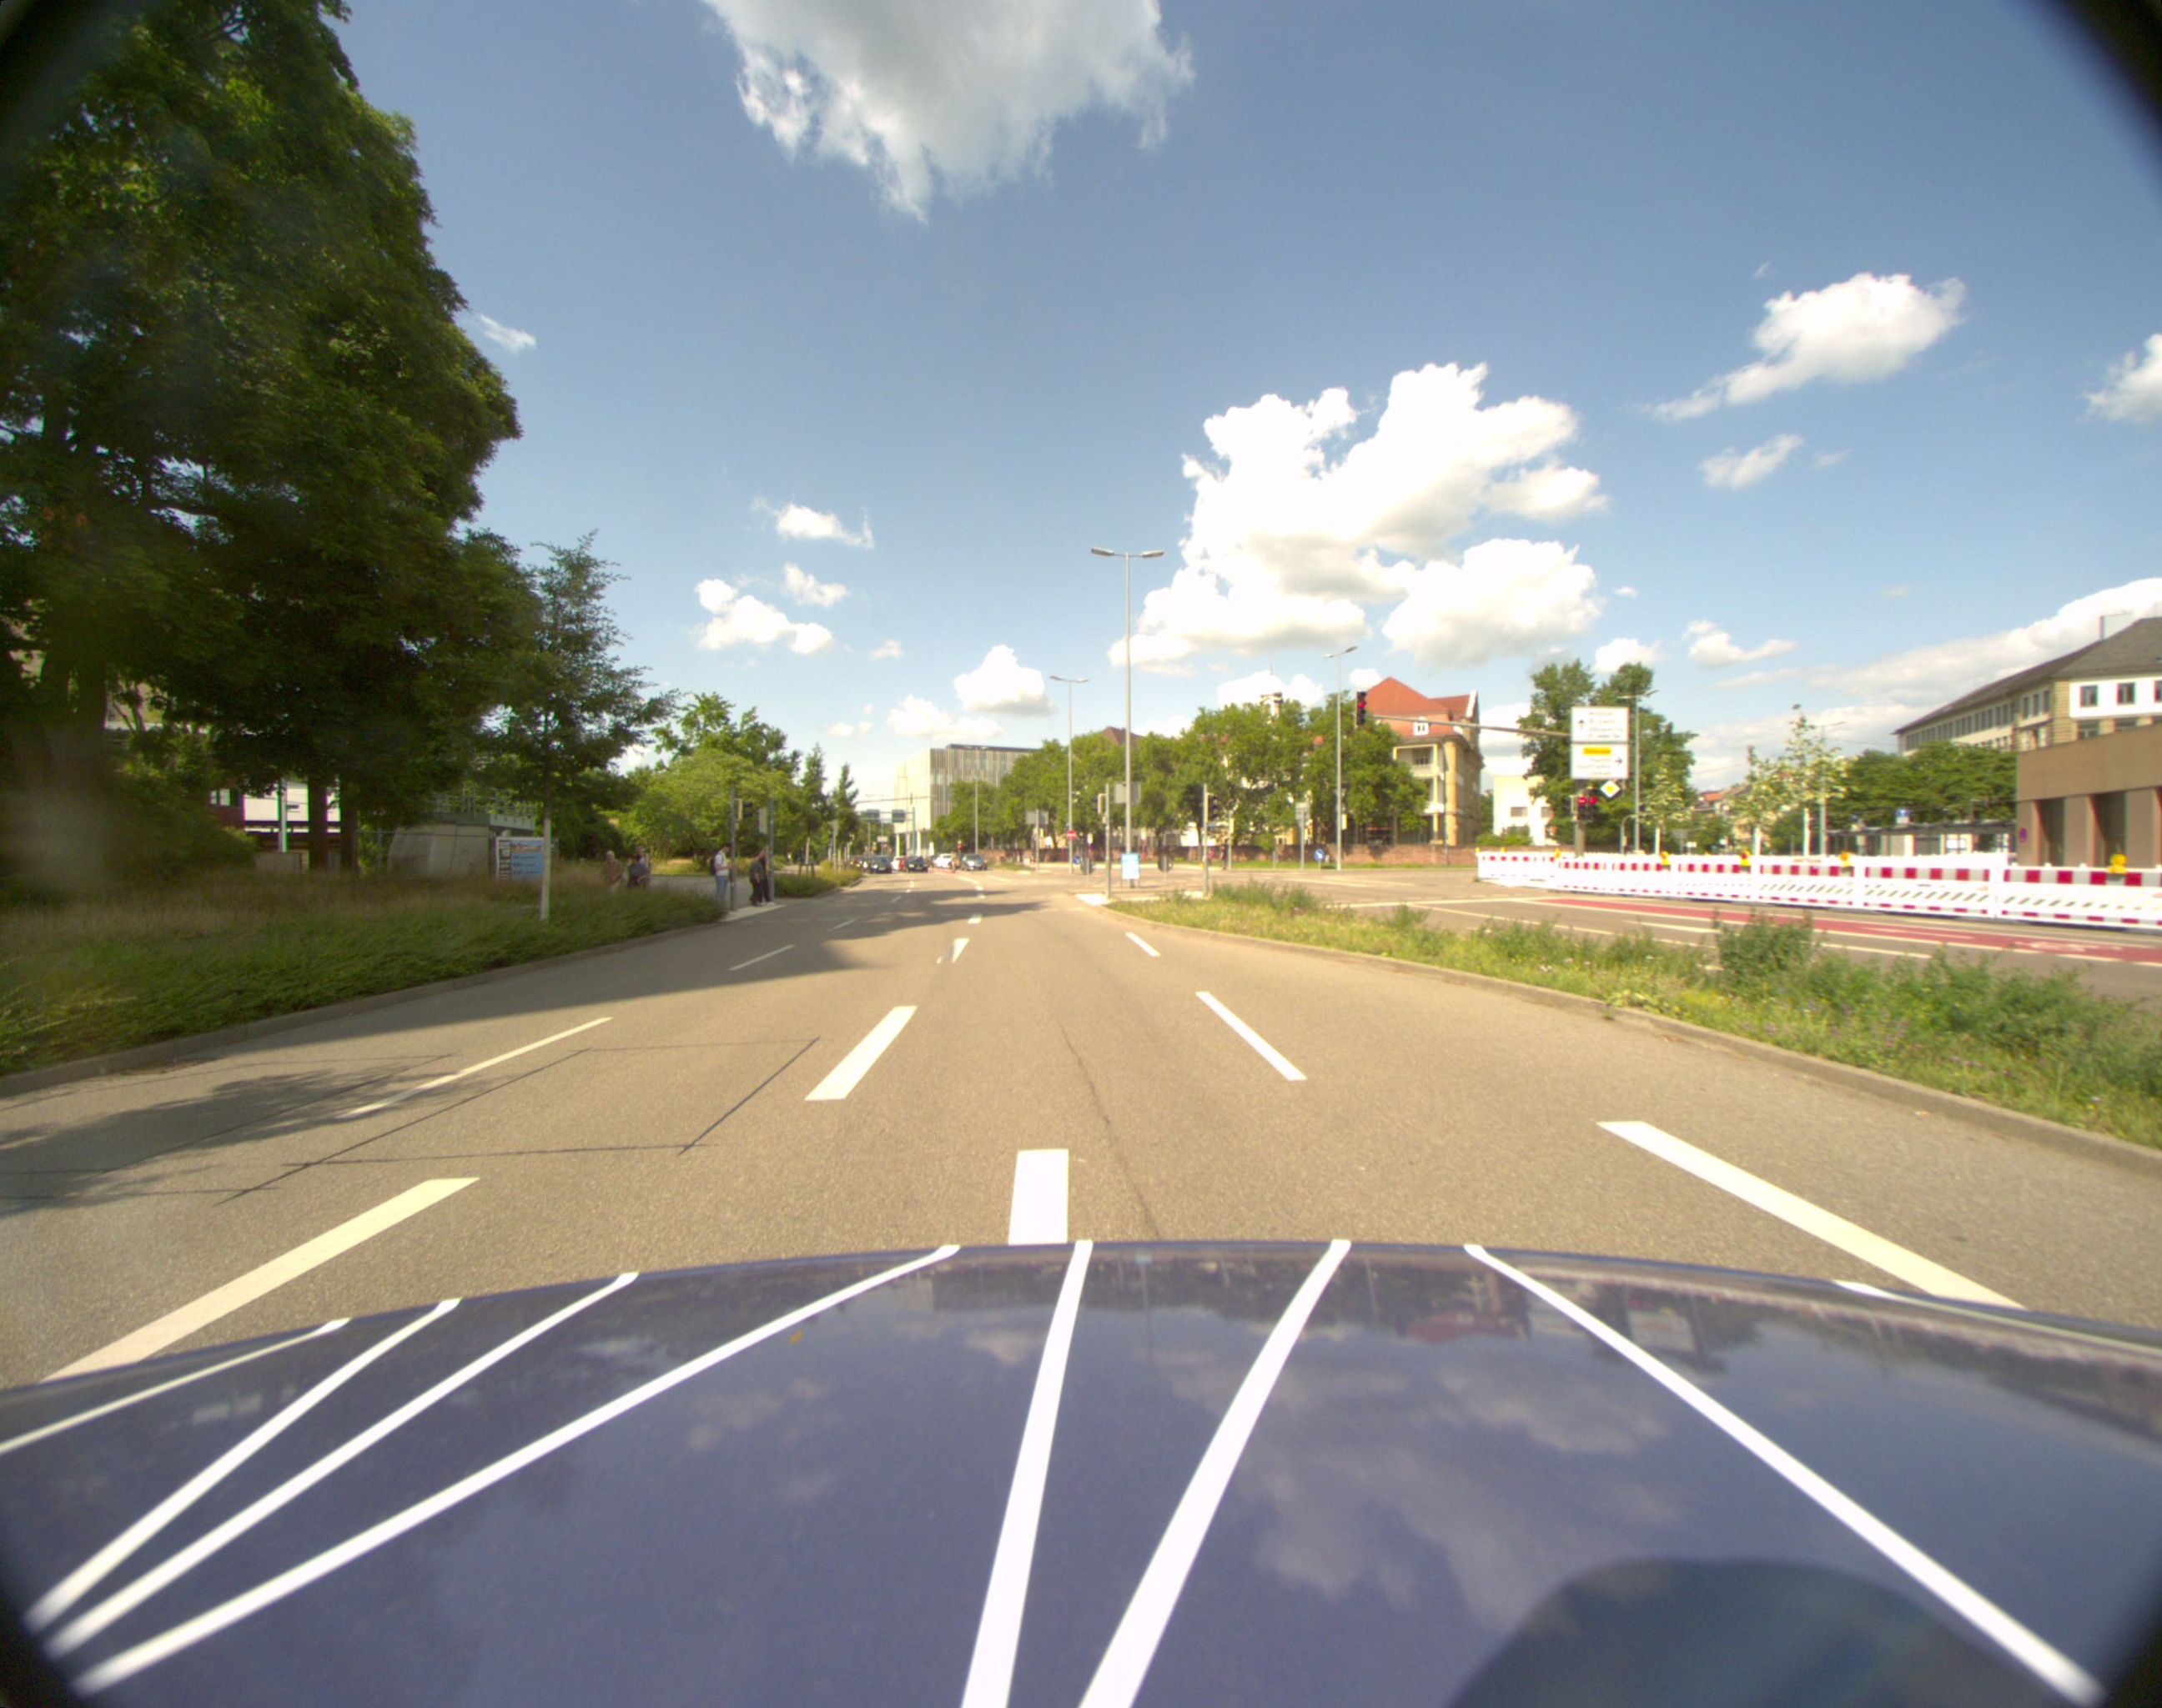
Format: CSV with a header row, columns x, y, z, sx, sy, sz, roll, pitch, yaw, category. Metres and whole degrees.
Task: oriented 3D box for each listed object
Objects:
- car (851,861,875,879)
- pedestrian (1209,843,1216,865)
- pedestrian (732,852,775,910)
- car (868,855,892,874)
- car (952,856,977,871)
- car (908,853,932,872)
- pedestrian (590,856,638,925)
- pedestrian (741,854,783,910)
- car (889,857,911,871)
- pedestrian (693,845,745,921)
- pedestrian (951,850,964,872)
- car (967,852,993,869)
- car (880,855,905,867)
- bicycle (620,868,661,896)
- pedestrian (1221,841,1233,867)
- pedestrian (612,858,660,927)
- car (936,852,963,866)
x,y,z,sx,sy,sz,roll,pitch,yaw,category
-19.742,1.415,68.960,1.827,1.454,3.995,-1,0,-13,car
10.300,-0.022,59.571,0.368,1.722,0.451,-2,1,26,pedestrian
-10.042,0.813,23.320,0.928,1.725,0.768,-2,1,-2,pedestrian
-16.512,0.861,62.601,1.828,1.454,3.995,-1,0,-14,car
-11.129,0.853,72.182,1.735,1.327,3.783,-2,1,-18,car
-13.695,0.690,64.375,1.828,1.454,3.995,-1,0,-14,car
-12.259,0.940,19.950,0.768,1.725,0.718,-2,1,-8,pedestrian
-10.094,0.878,24.098,0.928,1.725,0.768,-2,1,-2,pedestrian
-16.437,0.894,68.960,1.599,1.127,3.623,-3,1,-18,car
-9.870,0.769,20.736,0.965,2.002,0.768,-2,1,-2,pedestrian
-9.747,0.571,59.939,0.739,1.704,0.874,-3,1,-22,pedestrian
-8.669,0.517,65.149,2.000,1.368,4.265,-2,1,-10,car
-18.783,0.639,75.534,1.912,1.127,4.095,-1,0,-20,car
-15.125,0.941,26.135,0.649,0.876,1.820,-1,1,-11,bicycle
11.175,-0.009,57.991,0.582,1.982,0.621,-3,1,-27,pedestrian
-11.543,0.984,19.723,0.768,1.725,0.718,-2,1,-8,pedestrian
-13.678,0.459,78.915,1.781,1.346,3.992,-2,1,-23,car
